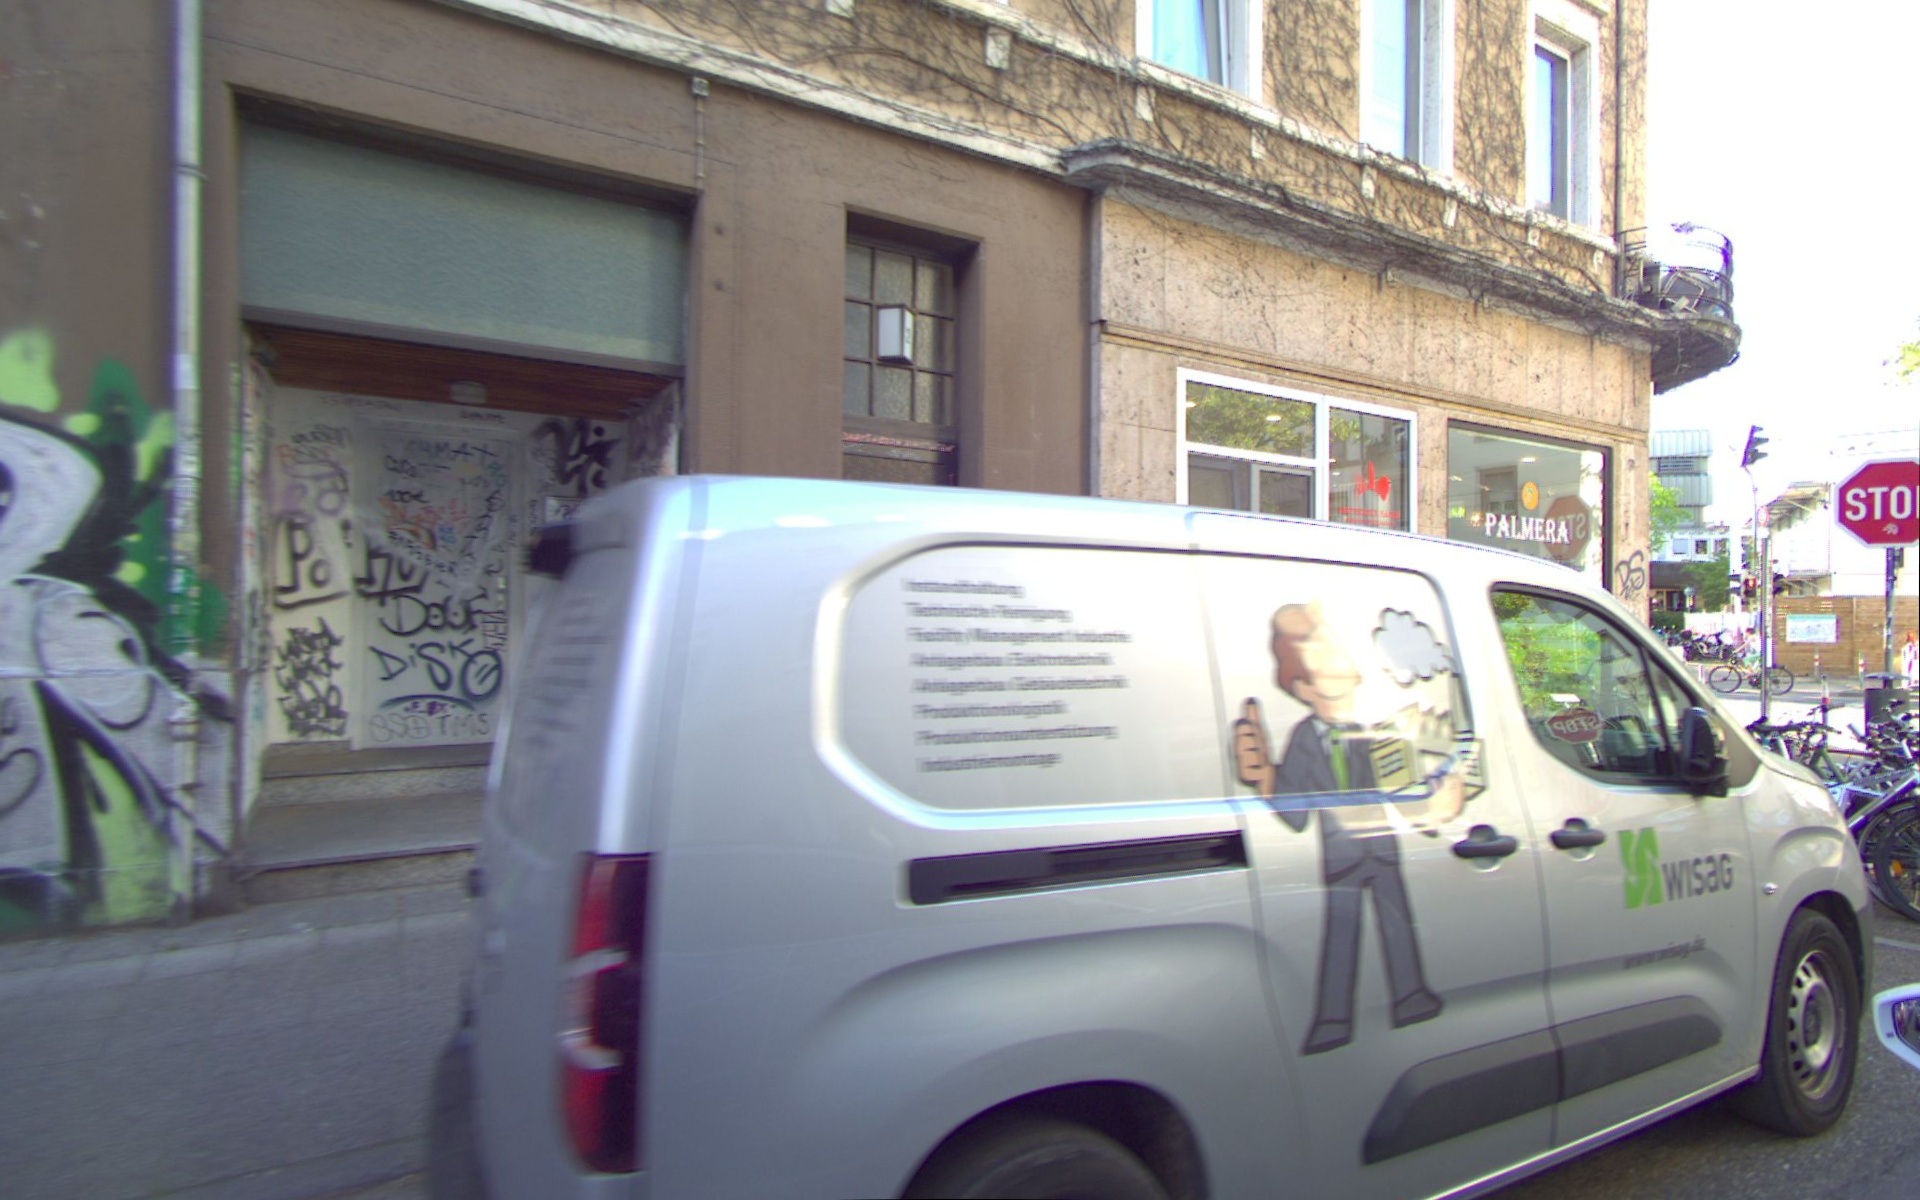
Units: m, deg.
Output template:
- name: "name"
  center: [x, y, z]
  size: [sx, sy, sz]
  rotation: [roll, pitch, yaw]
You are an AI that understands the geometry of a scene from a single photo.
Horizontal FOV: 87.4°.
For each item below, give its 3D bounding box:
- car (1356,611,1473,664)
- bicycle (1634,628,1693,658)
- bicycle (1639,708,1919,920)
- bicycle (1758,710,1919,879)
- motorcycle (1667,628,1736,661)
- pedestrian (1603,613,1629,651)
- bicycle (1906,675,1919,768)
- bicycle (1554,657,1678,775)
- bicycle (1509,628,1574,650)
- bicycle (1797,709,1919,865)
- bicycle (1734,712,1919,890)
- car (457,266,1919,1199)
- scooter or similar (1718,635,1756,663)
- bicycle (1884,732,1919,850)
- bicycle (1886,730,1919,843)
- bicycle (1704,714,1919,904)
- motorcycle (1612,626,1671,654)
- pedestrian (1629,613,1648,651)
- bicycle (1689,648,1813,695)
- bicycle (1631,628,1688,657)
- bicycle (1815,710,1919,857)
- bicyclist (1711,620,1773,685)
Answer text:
- name: "car"
  center: [18.572, 1.473, 41.010]
  size: [4.891, 1.918, 1.993]
  rotation: [-2, 1, -32]
- name: "bicycle"
  center: [30.814, 1.866, 44.020]
  size: [2.009, 1.274, 0.543]
  rotation: [0, 0, 16]
- name: "bicycle"
  center: [5.063, 1.214, 5.902]
  size: [0.458, 1.002, 1.756]
  rotation: [1, -1, -30]
- name: "bicycle"
  center: [6.233, 1.267, 6.400]
  size: [0.438, 0.974, 1.756]
  rotation: [1, -1, -31]
- name: "motorcycle"
  center: [29.437, 1.770, 39.906]
  size: [2.167, 1.274, 0.543]
  rotation: [0, 0, 16]
- name: "pedestrian"
  center: [35.803, 1.726, 54.821]
  size: [0.926, 2.040, 0.798]
  rotation: [0, -1, -26]
- name: "bicycle"
  center: [11.173, 1.429, 11.055]
  size: [0.449, 1.060, 1.687]
  rotation: [0, 1, 19]
- name: "bicycle"
  center: [6.607, 1.131, 10.097]
  size: [1.573, 1.106, 0.396]
  rotation: [2, -2, -31]
- name: "bicycle"
  center: [31.418, 2.097, 54.326]
  size: [0.811, 1.162, 3.067]
  rotation: [0, -1, -27]
- name: "bicycle"
  center: [6.756, 1.287, 6.702]
  size: [0.478, 0.974, 1.749]
  rotation: [1, -2, -41]
- name: "bicycle"
  center: [5.888, 1.252, 6.184]
  size: [0.417, 0.974, 1.756]
  rotation: [1, -1, -31]
- name: "car"
  center: [1.008, 0.644, 3.072]
  size: [4.466, 1.934, 1.672]
  rotation: [1, -4, -30]
- name: "scooter or similar"
  center: [29.663, 1.861, 38.342]
  size: [1.464, 1.033, 0.384]
  rotation: [0, 0, -19]
- name: "bicycle"
  center: [7.500, 1.404, 7.147]
  size: [0.378, 0.829, 1.298]
  rotation: [1, -3, -39]
- name: "bicycle"
  center: [7.795, 1.416, 7.392]
  size: [0.359, 0.829, 1.376]
  rotation: [1, -3, -39]
- name: "bicycle"
  center: [5.529, 1.245, 5.973]
  size: [0.400, 0.974, 1.756]
  rotation: [1, -1, -31]
- name: "motorcycle"
  center: [31.047, 1.826, 45.792]
  size: [2.167, 1.274, 0.543]
  rotation: [0, 0, 16]
- name: "pedestrian"
  center: [36.866, 1.731, 54.582]
  size: [0.788, 2.040, 1.029]
  rotation: [0, -1, 29]
- name: "bicycle"
  center: [20.618, 1.847, 26.228]
  size: [0.887, 1.107, 2.405]
  rotation: [3, -2, -36]
- name: "bicycle"
  center: [31.034, 1.881, 44.575]
  size: [2.009, 1.274, 0.543]
  rotation: [0, 0, 16]
- name: "bicycle"
  center: [7.102, 1.323, 6.958]
  size: [0.424, 0.974, 1.752]
  rotation: [1, -1, -37]
- name: "bicyclist"
  center: [20.528, 1.365, 26.360]
  size: [0.887, 1.661, 1.089]
  rotation: [3, -2, -36]
